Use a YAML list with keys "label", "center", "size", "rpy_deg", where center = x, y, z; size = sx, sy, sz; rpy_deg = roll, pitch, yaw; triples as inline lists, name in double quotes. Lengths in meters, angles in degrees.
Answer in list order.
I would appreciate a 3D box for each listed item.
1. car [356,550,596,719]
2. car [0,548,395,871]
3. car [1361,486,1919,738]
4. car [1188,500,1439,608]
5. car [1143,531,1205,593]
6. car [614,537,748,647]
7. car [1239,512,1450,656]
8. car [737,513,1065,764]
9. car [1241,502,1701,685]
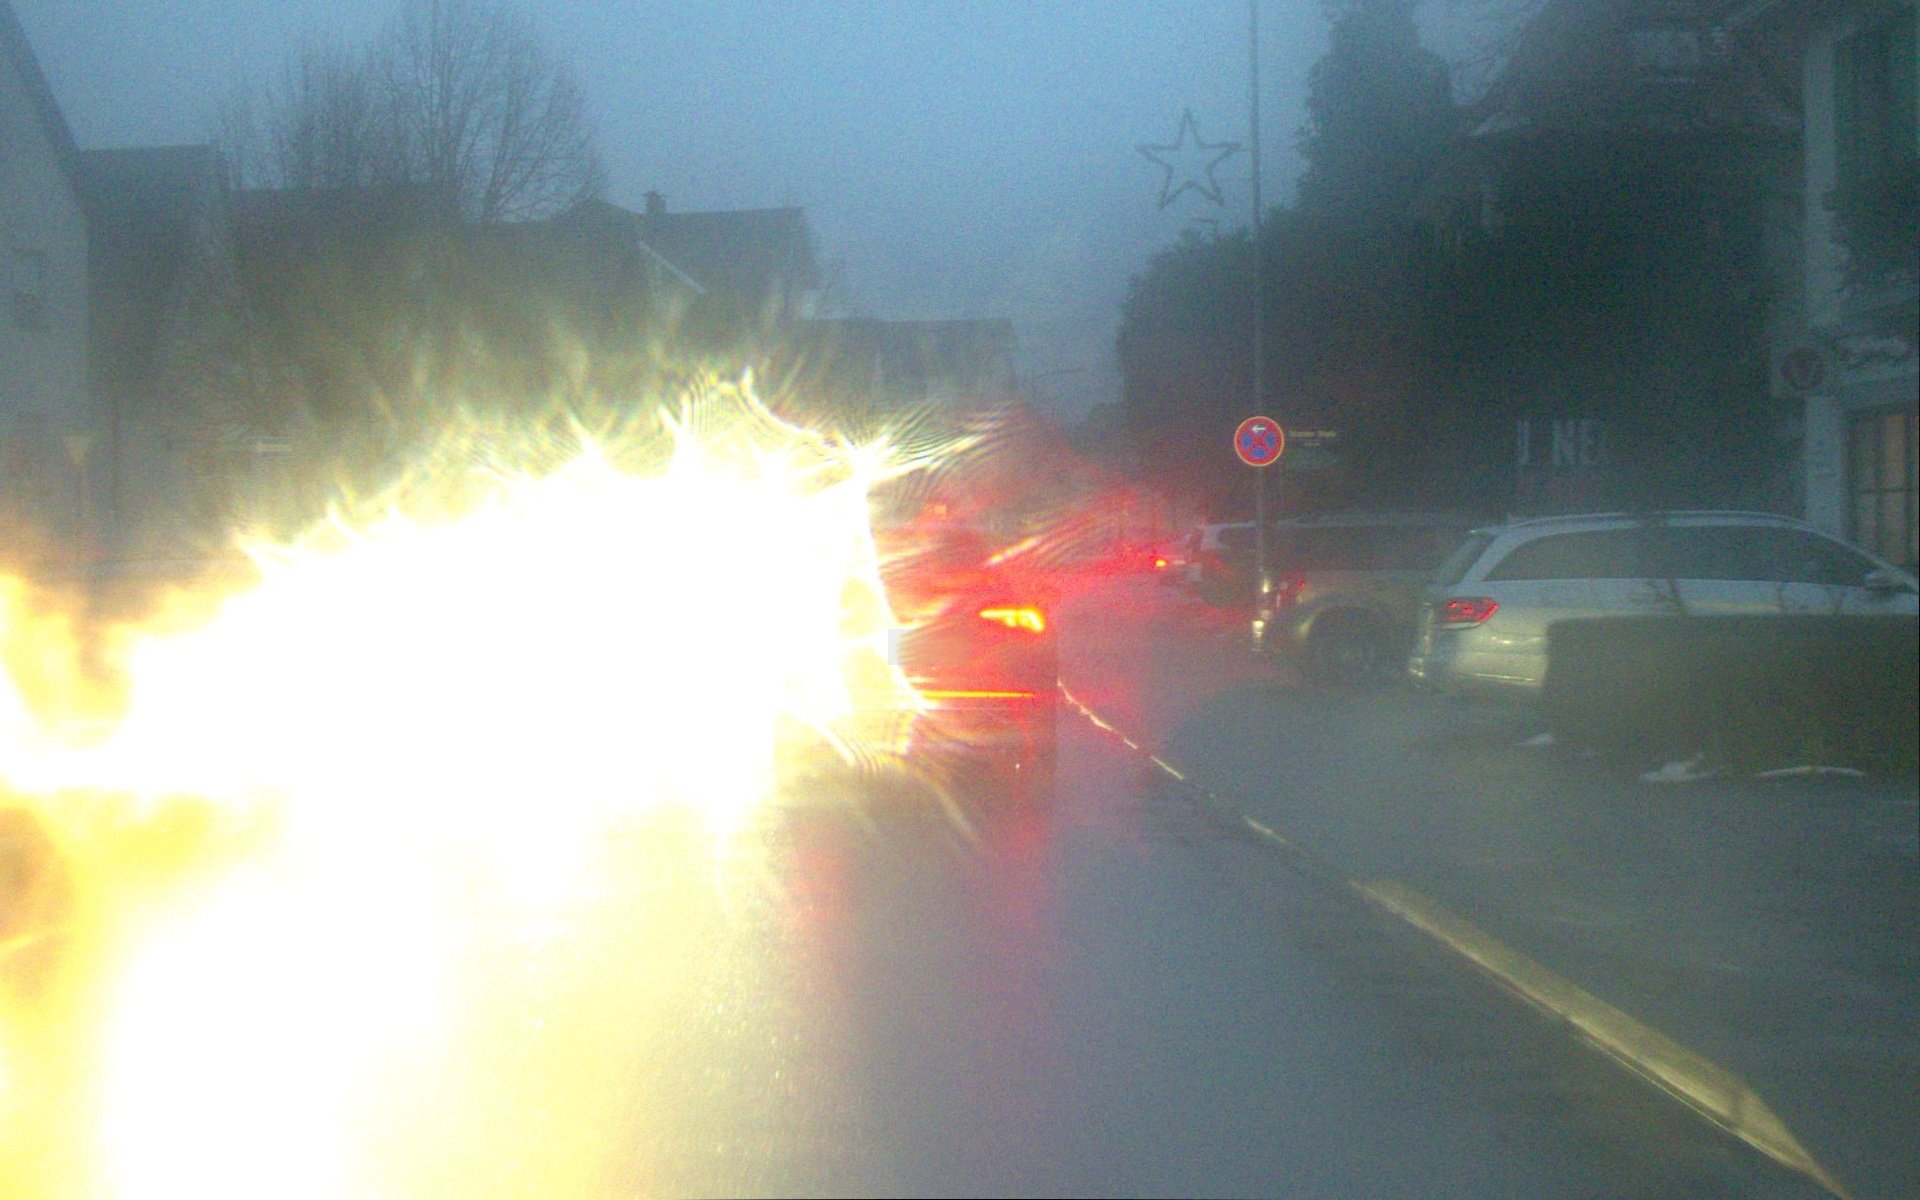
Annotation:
- label: "car"
  center: [-4.537, 0.273, 32.777]
  size: [1.704, 1.436, 4.425]
  rpy_deg: [-2, 1, -1]
- label: "car"
  center: [-4.087, 0.483, 17.797]
  size: [1.704, 1.436, 4.000]
  rpy_deg: [-2, 1, -1]
- label: "car"
  center: [5.216, 0.053, 23.946]
  size: [4.734, 1.624, 1.907]
  rpy_deg: [-1, 1, 5]
- label: "car"
  center: [6.431, -0.849, 62.859]
  size: [4.322, 1.726, 2.000]
  rpy_deg: [-3, 1, 1]
- label: "car"
  center: [7.160, -1.292, 114.848]
  size: [1.994, 2.007, 4.000]
  rpy_deg: [-1, 1, 4]
- label: "car"
  center: [-4.403, -0.159, 54.817]
  size: [1.814, 1.627, 4.225]
  rpy_deg: [-2, 1, -1]
- label: "car"
  center: [4.338, -0.224, 39.435]
  size: [1.893, 1.549, 4.756]
  rpy_deg: [0, 1, 0]
- label: "car"
  center: [-0.410, 0.195, 22.987]
  size: [1.993, 1.520, 4.000]
  rpy_deg: [0, 1, -1]
- label: "car"
  center: [4.853, -0.068, 33.090]
  size: [4.101, 1.700, 2.000]
  rpy_deg: [0, 0, -1]
